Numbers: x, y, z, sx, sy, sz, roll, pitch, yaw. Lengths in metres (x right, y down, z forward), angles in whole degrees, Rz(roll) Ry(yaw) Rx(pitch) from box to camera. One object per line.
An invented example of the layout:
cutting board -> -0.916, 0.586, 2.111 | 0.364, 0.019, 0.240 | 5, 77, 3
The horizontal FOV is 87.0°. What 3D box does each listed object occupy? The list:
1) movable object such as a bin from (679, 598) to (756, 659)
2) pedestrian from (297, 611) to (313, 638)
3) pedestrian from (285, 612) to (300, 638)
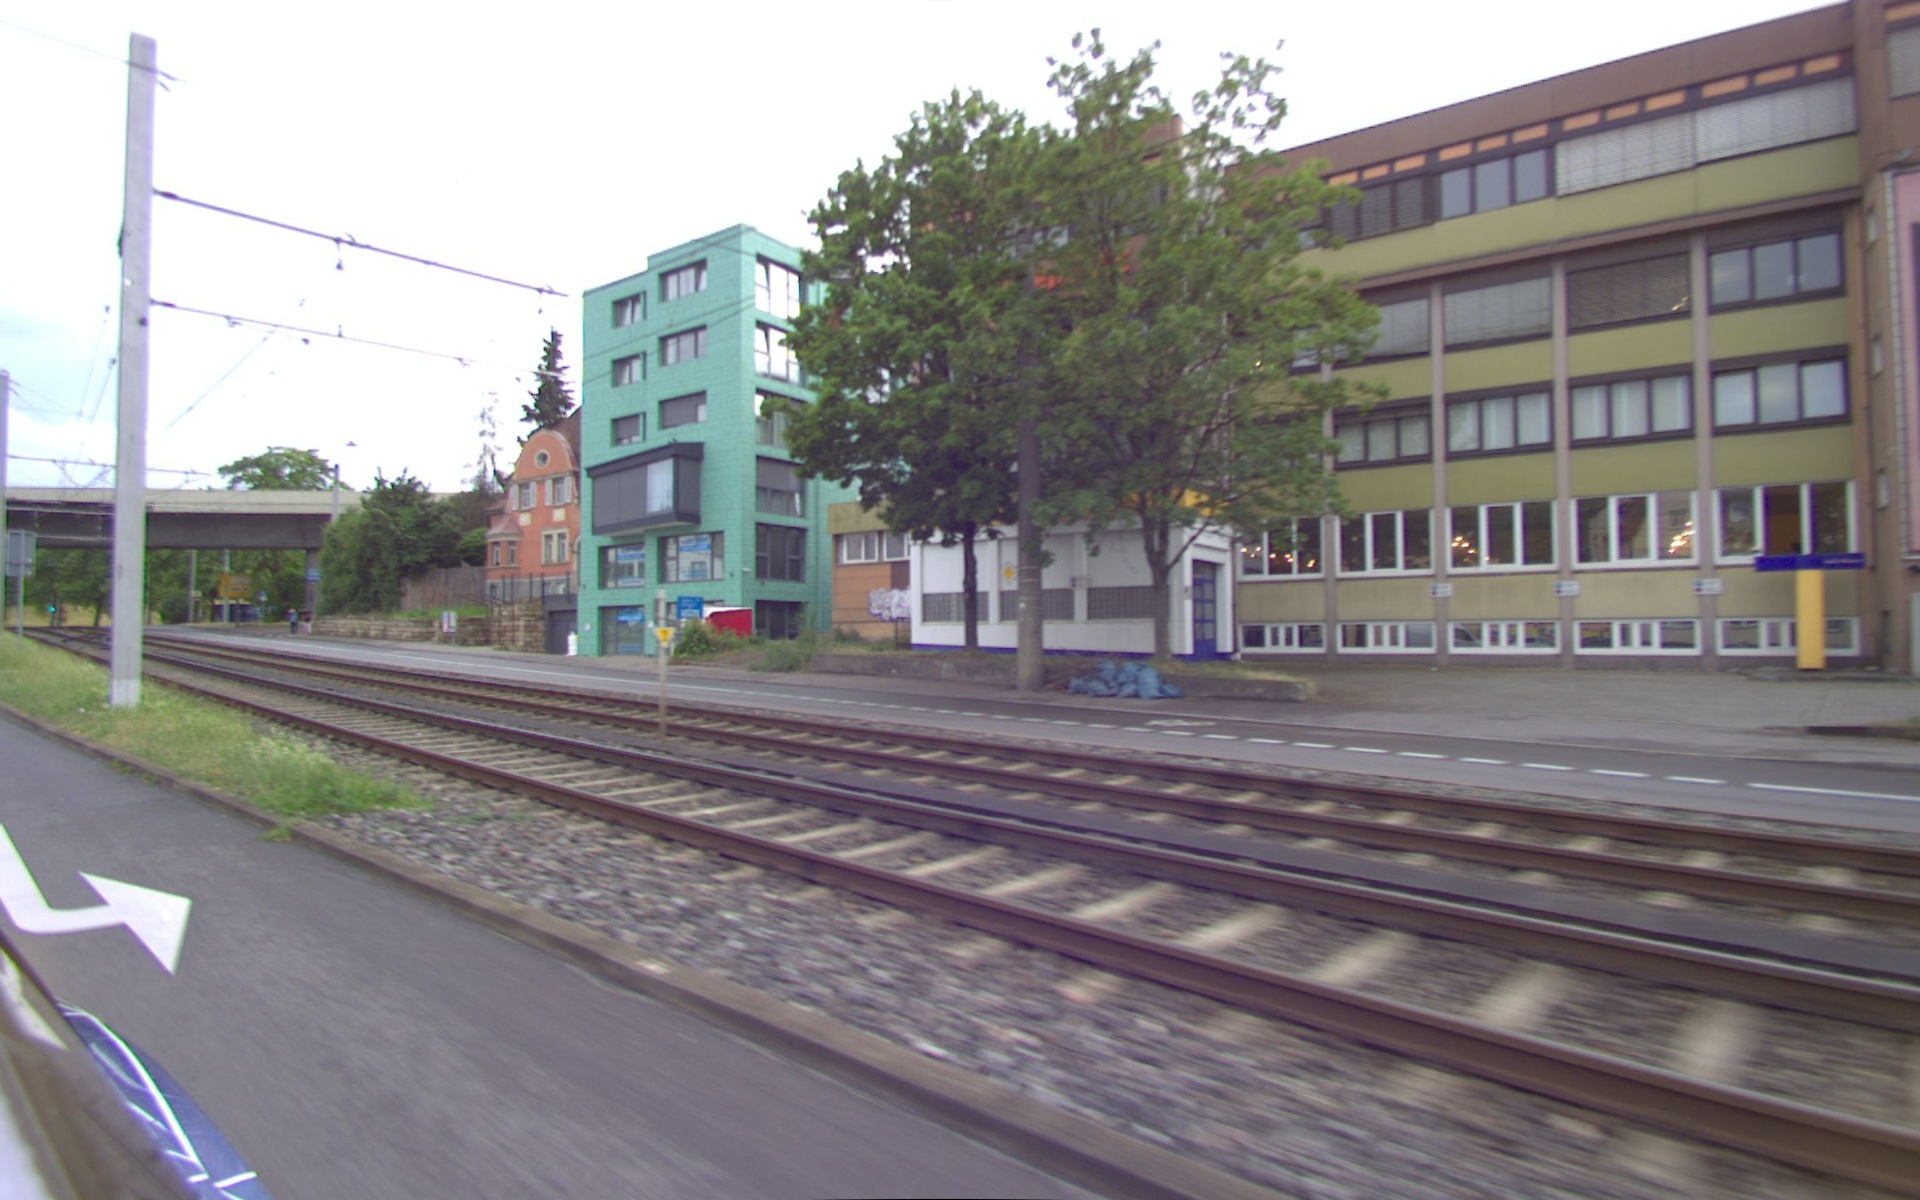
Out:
movable object such as a bin -> -9.130, 1.056, 38.168 | 1.798, 2.173, 2.115 | -2, -1, 36
pedestrian -> -44.054, 1.648, 68.060 | 0.867, 1.845, 0.685 | -2, -2, 45
pedestrian -> -44.176, 1.645, 67.012 | 0.685, 1.683, 0.889 | 0, -2, -43
